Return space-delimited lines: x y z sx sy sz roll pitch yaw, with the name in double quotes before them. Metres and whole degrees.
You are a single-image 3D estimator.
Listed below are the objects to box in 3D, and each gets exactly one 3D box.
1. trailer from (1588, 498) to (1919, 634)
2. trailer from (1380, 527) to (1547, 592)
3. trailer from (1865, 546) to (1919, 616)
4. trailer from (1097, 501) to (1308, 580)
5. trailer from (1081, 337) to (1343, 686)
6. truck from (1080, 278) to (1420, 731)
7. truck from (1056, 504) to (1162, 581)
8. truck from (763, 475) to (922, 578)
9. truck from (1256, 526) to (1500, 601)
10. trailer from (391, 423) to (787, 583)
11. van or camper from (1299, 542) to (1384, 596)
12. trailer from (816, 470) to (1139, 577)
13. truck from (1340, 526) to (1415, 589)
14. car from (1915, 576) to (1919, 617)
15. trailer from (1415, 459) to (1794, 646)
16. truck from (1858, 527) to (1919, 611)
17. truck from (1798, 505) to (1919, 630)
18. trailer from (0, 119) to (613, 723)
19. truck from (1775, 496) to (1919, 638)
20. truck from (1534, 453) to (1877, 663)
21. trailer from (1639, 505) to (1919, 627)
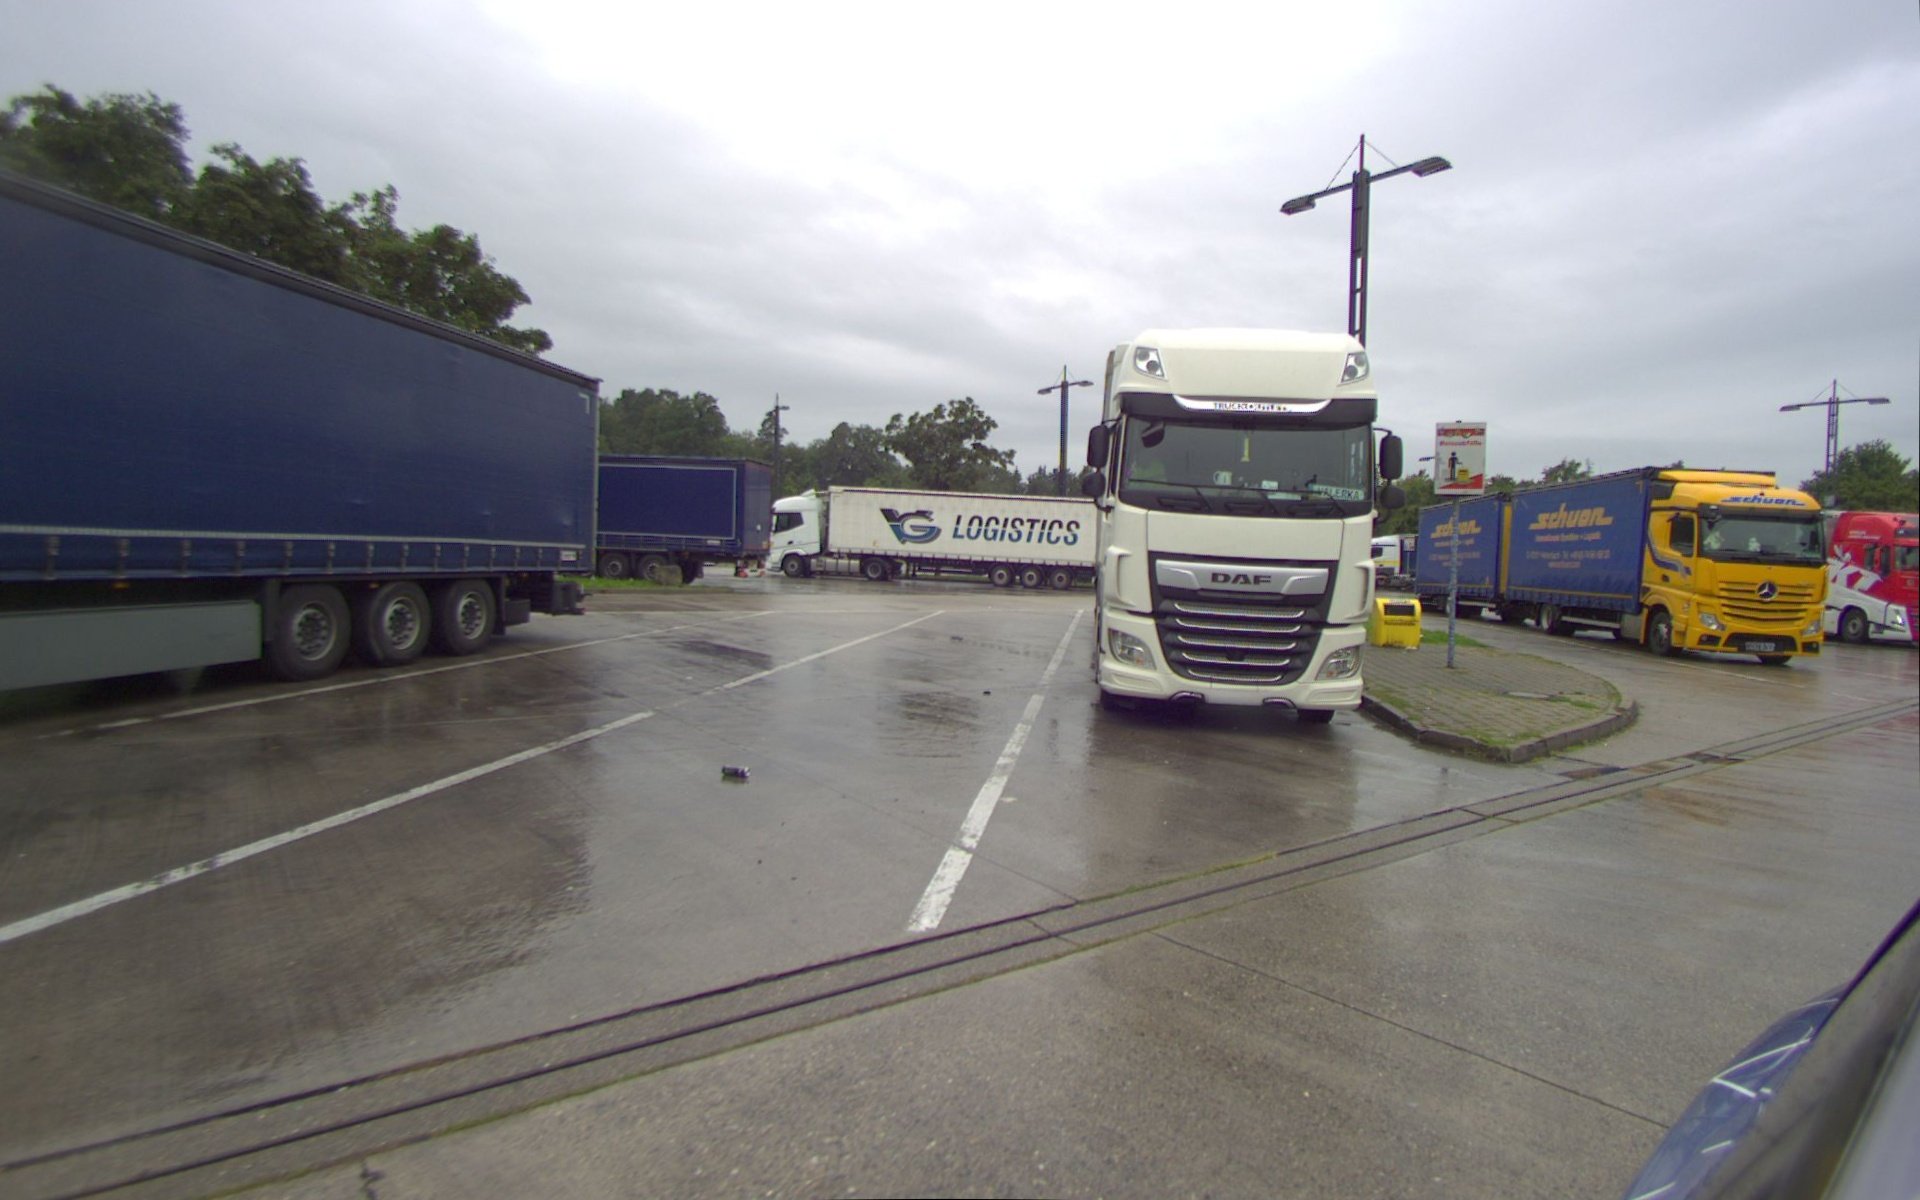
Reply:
"trailer" 28.904 -1.343 37.340 3.189 3.966 14.818 2 3 5
"trailer" 36.558 -2.968 73.861 10.286 4.440 3.091 2 2 8
"trailer" 62.616 -1.101 62.608 2.498 4.440 12.820 1 2 5
"trailer" 12.170 -2.954 51.500 10.209 3.803 2.066 0 0 7
"trailer" 3.809 -1.379 18.683 2.797 3.966 13.932 2 3 7
"truck" 2.885 -0.986 11.738 2.783 3.960 5.402 2 2 7
"truck" 7.596 -2.926 52.043 5.248 3.803 2.066 0 0 7
"truck" -5.220 -3.213 45.592 6.671 4.329 2.662 0 0 8
"truck" 27.348 -2.467 66.997 14.328 4.440 3.471 2 2 9
"trailer" -11.848 -3.089 32.654 11.831 4.528 3.253 3 2 8
"van or camper" 23.826 -1.883 63.333 4.531 3.278 2.264 0 0 9
"trailer" 0.766 -3.269 44.661 13.929 4.311 2.662 0 0 9
"truck" 30.728 -3.160 74.689 4.323 4.440 3.091 2 2 8
"car" 45.445 -0.069 45.341 1.817 1.881 3.993 2 2 8
"trailer" 17.647 -1.431 30.209 2.822 3.966 16.601 3 3 8
"truck" 49.384 -1.470 50.006 3.189 4.140 7.931 2 3 5
"truck" 32.028 -1.059 33.741 2.849 3.966 6.550 2 3 5
"trailer" -7.843 -1.388 9.257 2.780 4.221 13.970 2 3 8
"truck" 28.293 -0.984 30.630 3.189 3.966 5.017 2 3 5
"truck" 16.670 -1.020 23.616 2.794 3.966 8.113 3 3 9
"trailer" 32.585 -1.424 40.135 2.826 3.966 13.924 2 3 5
